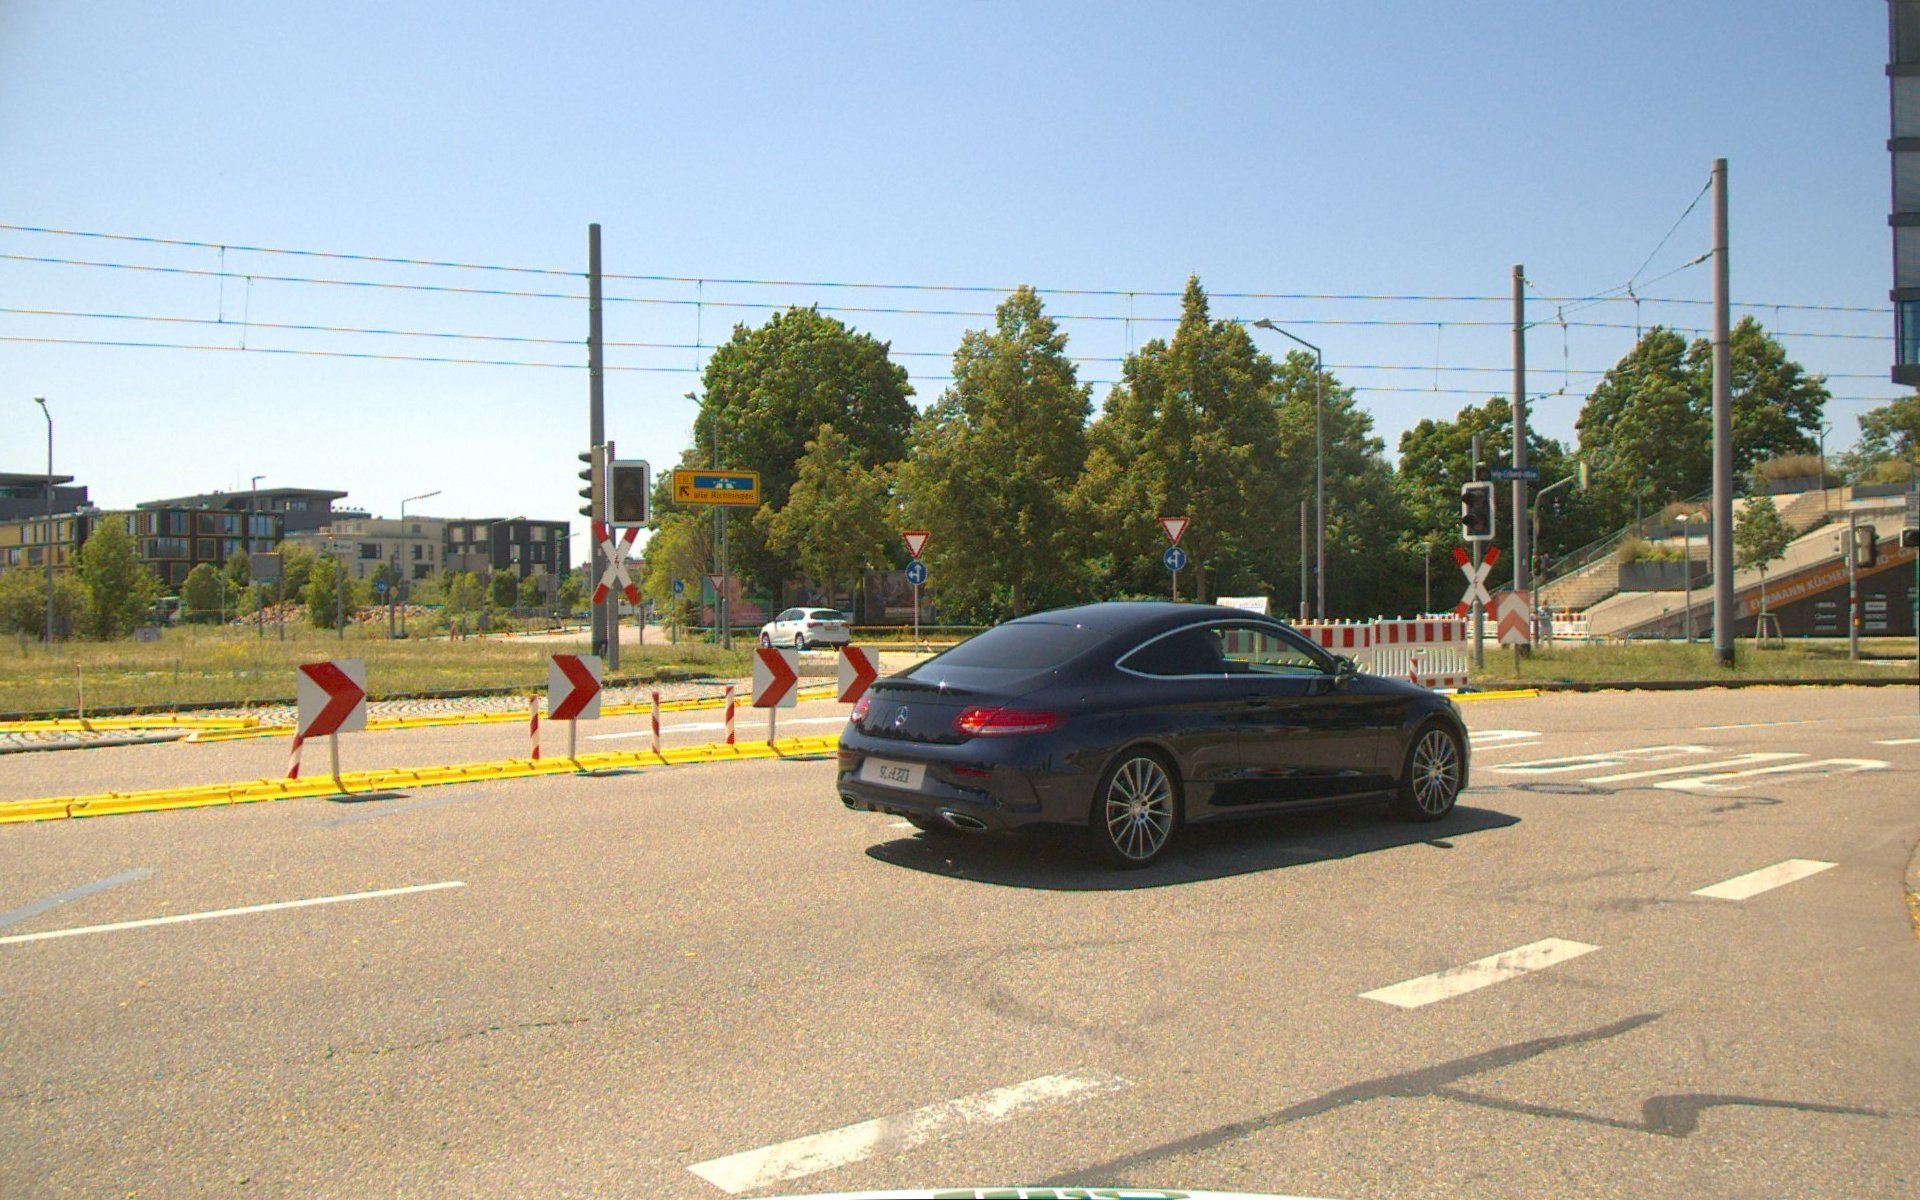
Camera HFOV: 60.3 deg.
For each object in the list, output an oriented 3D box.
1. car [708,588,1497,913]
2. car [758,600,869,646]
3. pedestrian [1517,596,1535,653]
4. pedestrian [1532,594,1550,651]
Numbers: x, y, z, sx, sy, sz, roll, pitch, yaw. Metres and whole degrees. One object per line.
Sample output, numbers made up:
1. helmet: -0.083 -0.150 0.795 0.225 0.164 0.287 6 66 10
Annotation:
1. car: 1.072 0.678 9.839 4.912 1.461 1.830 -1 0 -42
2. car: -5.081 0.792 57.074 1.976 1.512 4.314 -1 0 -34
3. pedestrian: 17.617 0.763 51.480 0.439 1.769 0.291 0 0 -4
4. pedestrian: 18.102 0.701 51.538 0.439 1.769 0.318 0 0 -4
